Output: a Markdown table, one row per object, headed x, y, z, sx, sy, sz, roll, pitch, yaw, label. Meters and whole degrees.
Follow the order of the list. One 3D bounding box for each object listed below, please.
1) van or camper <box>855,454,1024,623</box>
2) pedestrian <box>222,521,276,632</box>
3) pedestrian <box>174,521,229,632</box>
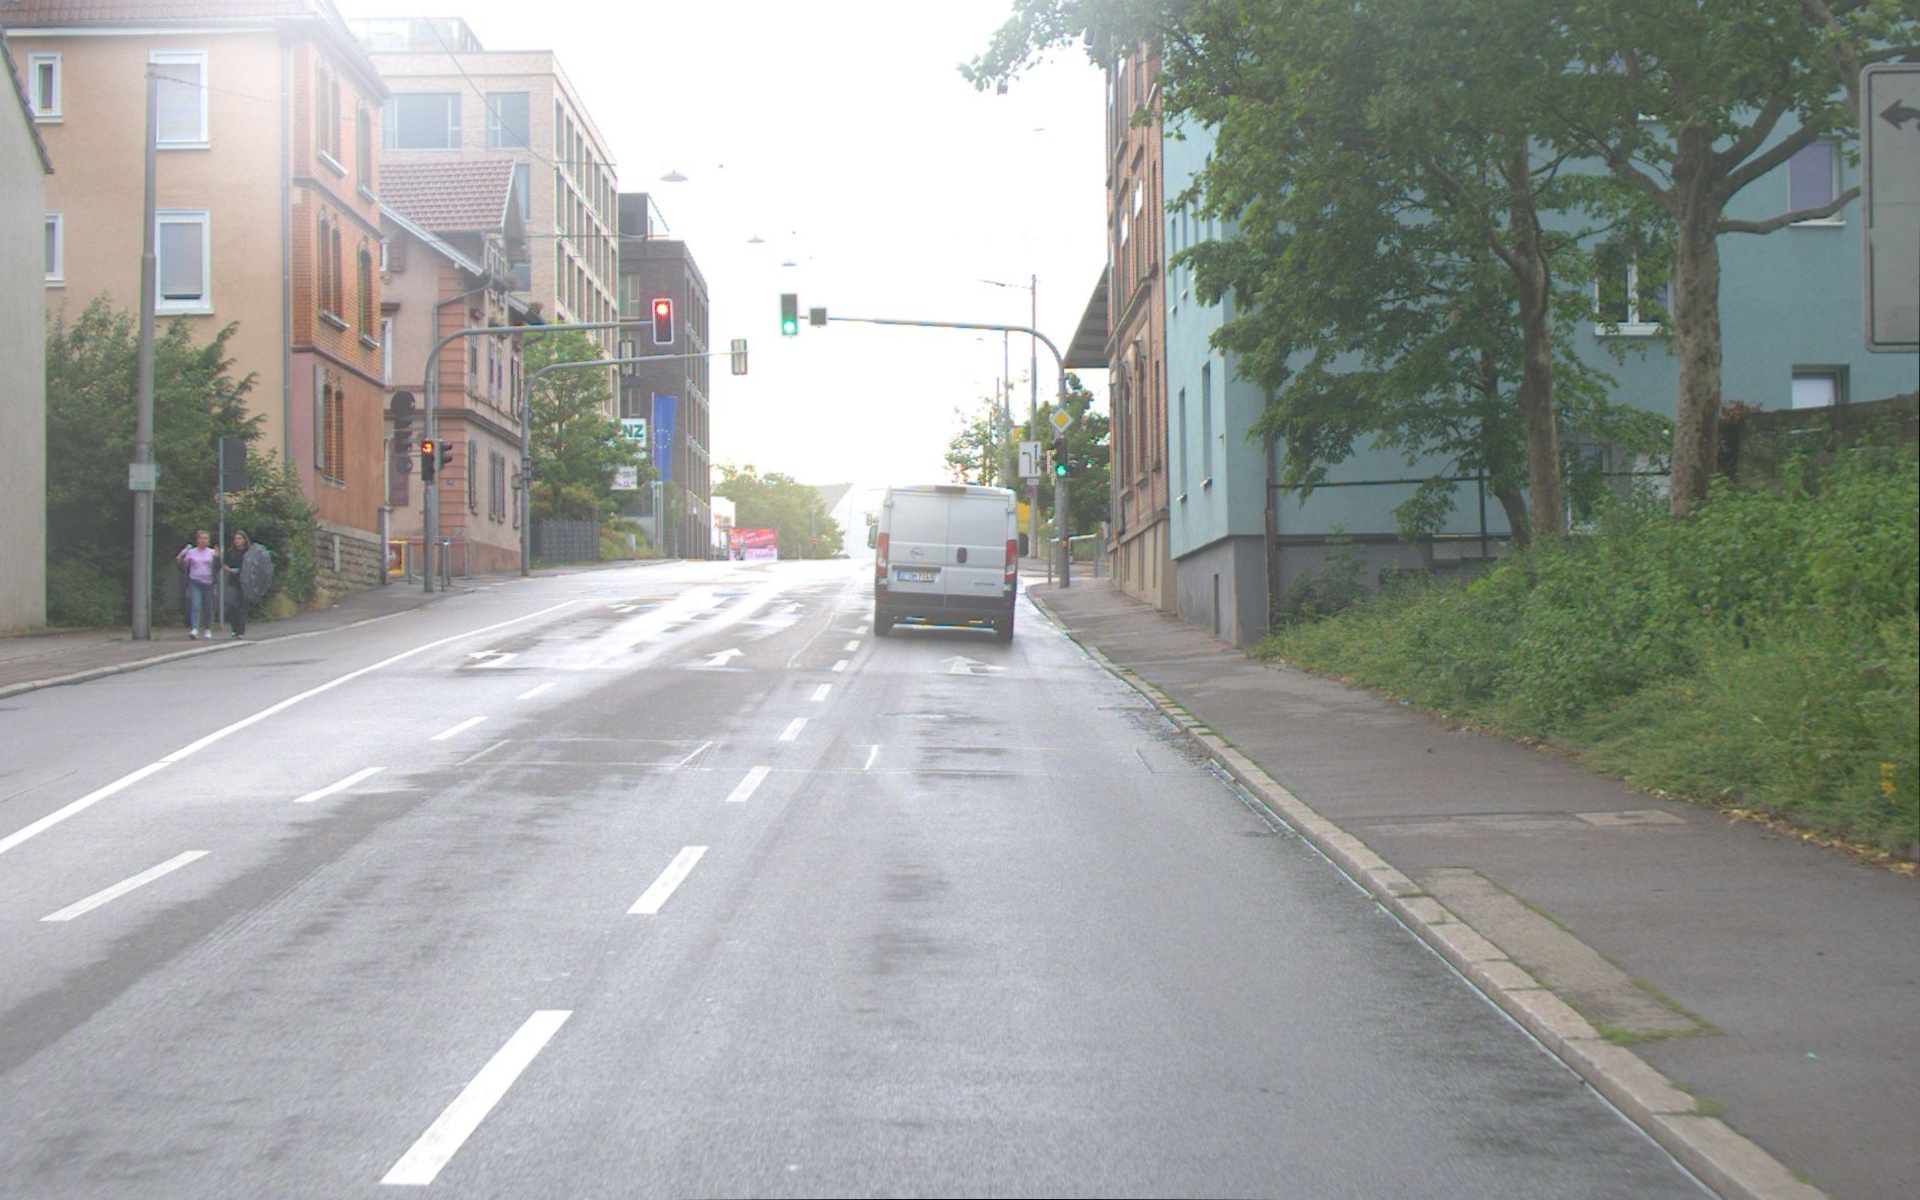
| x | y | z | sx | sy | sz | roll | pitch | yaw | label |
| --- | --- | --- | --- | --- | --- | --- | --- | --- | --- |
| -0.280 | -0.898 | 50.939 | 2.340 | 2.349 | 5.199 | 1 | 1 | 0 | van or camper |
| -11.035 | -0.376 | 53.343 | 0.640 | 1.700 | 0.911 | 0 | 1 | 0 | pedestrian |
| -11.776 | -0.372 | 53.387 | 0.640 | 1.700 | 0.911 | 0 | 1 | 0 | pedestrian |
